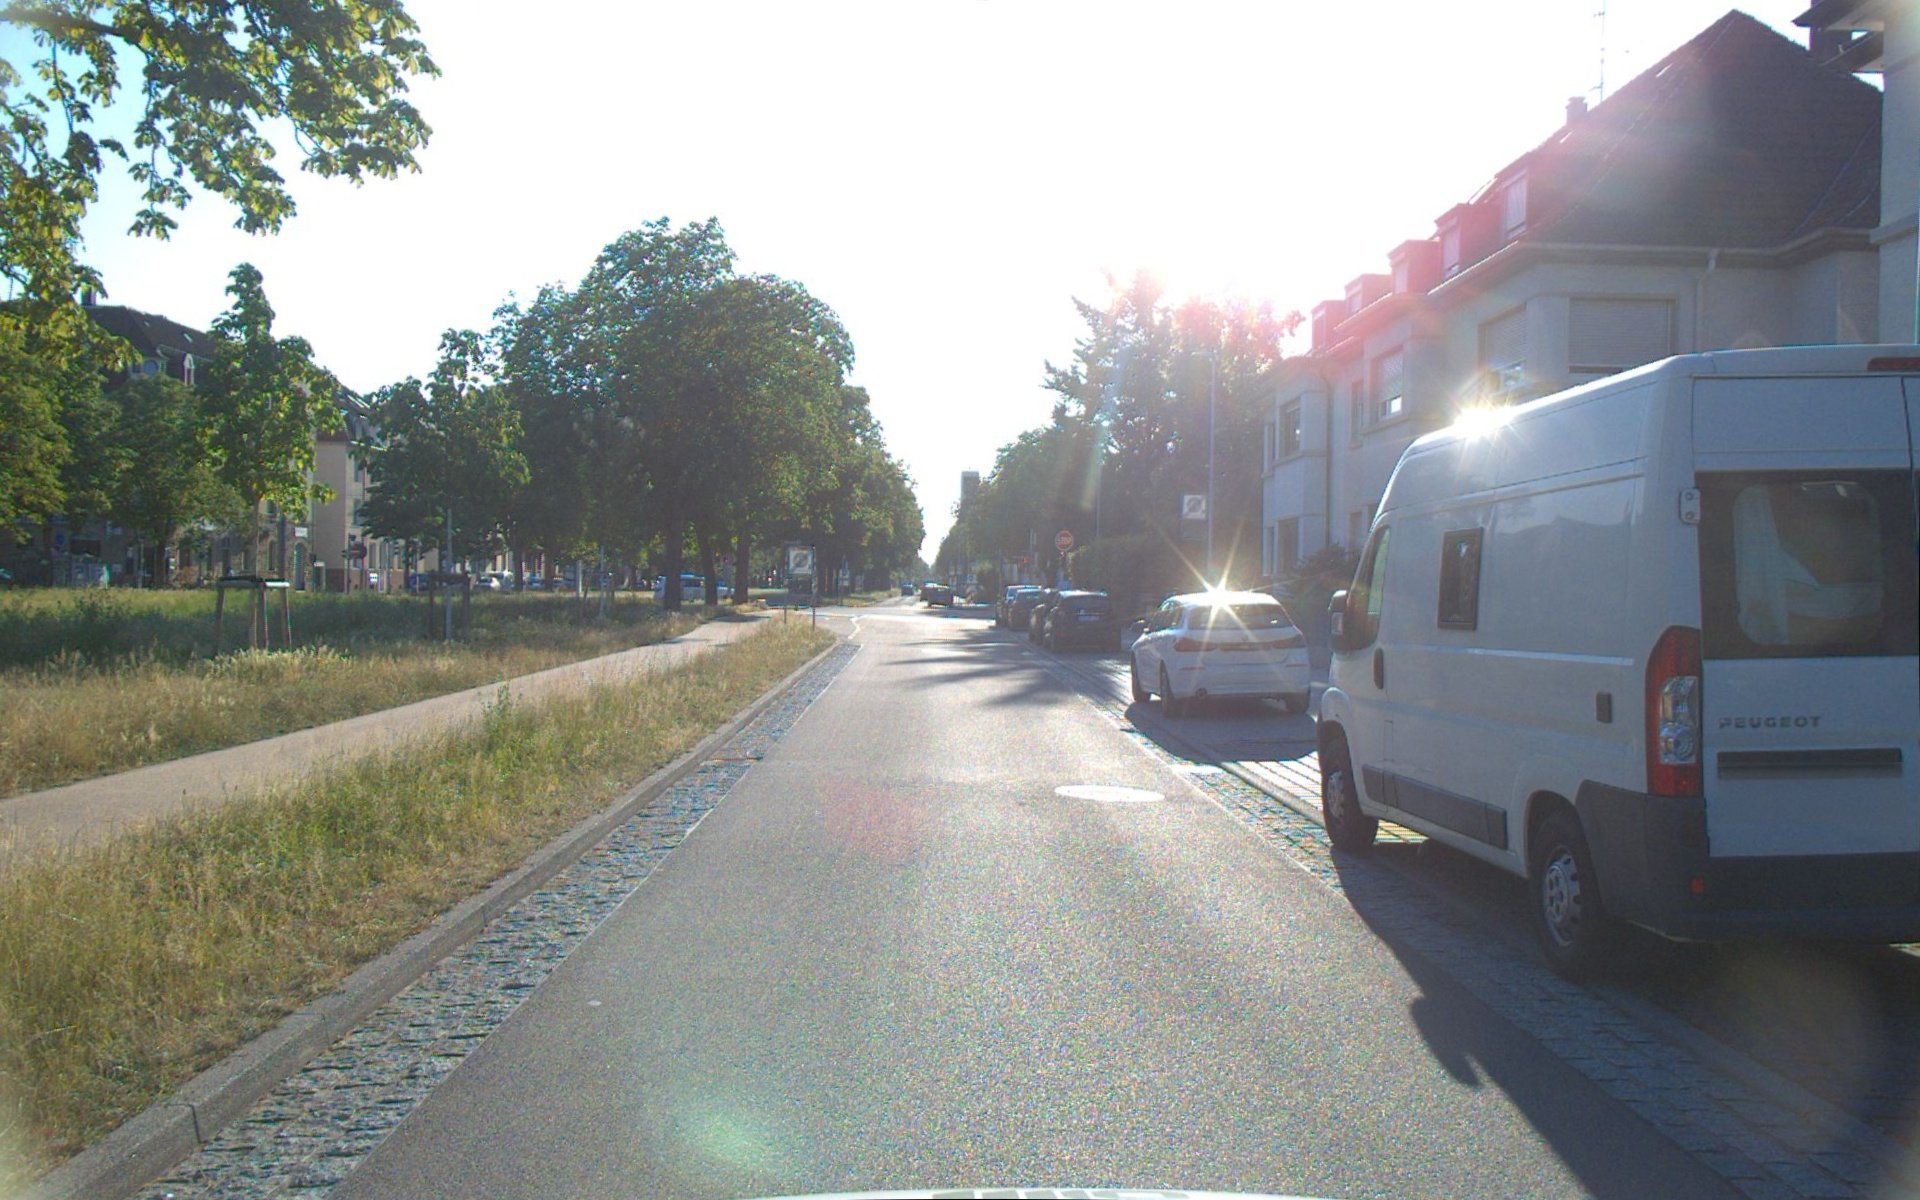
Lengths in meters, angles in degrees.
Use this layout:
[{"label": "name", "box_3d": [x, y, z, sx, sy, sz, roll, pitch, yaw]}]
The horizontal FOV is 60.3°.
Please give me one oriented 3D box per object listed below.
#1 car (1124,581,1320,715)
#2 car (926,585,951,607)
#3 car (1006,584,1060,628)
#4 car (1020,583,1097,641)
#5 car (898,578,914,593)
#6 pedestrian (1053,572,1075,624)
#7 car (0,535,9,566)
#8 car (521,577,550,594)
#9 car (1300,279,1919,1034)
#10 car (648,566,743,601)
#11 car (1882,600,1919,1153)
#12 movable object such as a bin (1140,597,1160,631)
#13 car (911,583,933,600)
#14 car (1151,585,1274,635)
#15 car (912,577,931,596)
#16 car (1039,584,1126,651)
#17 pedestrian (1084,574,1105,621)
[{"label": "car", "box_3d": [3.314, 0.544, 21.725, 1.747, 1.533, 4.232, 1, 1, -2]}, {"label": "car", "box_3d": [-1.470, -0.276, 113.904, 1.607, 1.476, 3.308, 1, 1, 1]}, {"label": "car", "box_3d": [2.482, 0.179, 56.968, 1.608, 1.452, 3.935, -1, 0, -1]}, {"label": "car", "box_3d": [2.679, 0.297, 45.836, 1.711, 1.500, 4.254, 1, 1, -2]}, {"label": "car", "box_3d": [-7.504, -2.000, 230.274, 2.090, 2.049, 3.901, 2, 1, 0]}, {"label": "pedestrian", "box_3d": [3.884, -0.087, 61.664, 0.657, 1.898, 0.881, 2, 0, -4]}, {"label": "car", "box_3d": [-48.654, -2.475, 79.554, 4.677, 1.459, 1.811, 2, -1, -9]}, {"label": "car", "box_3d": [-38.941, -1.342, 151.859, 1.702, 1.452, 3.792, 1, 2, -1]}, {"label": "car", "box_3d": [3.451, 0.176, 8.432, 2.086, 2.562, 5.507, 1, 1, -2]}, {"label": "car", "box_3d": [-13.041, -0.825, 81.521, 4.344, 1.706, 1.887, 0, 1, -20]}, {"label": "car", "box_3d": [3.411, 0.776, 2.654, 1.588, 1.508, 4.108, 0, 1, 0]}, {"label": "movable object such as a bin", "box_3d": [6.203, 0.456, 53.963, 0.498, 1.061, 0.658, 1, 0, -7]}, {"label": "car", "box_3d": [-3.396, -0.762, 147.846, 1.808, 1.418, 3.828, 2, 1, 0]}, {"label": "car", "box_3d": [7.887, 0.301, 51.887, 3.560, 1.522, 1.781, -1, 0, -1]}, {"label": "car", "box_3d": [-4.300, -1.527, 185.159, 1.953, 2.049, 3.858, 1, 0, 0]}, {"label": "car", "box_3d": [2.951, 0.391, 40.448, 1.684, 1.497, 3.982, -1, 0, -2]}, {"label": "pedestrian", "box_3d": [5.020, -0.109, 61.750, 0.656, 1.738, 0.622, 2, 0, -4]}]
